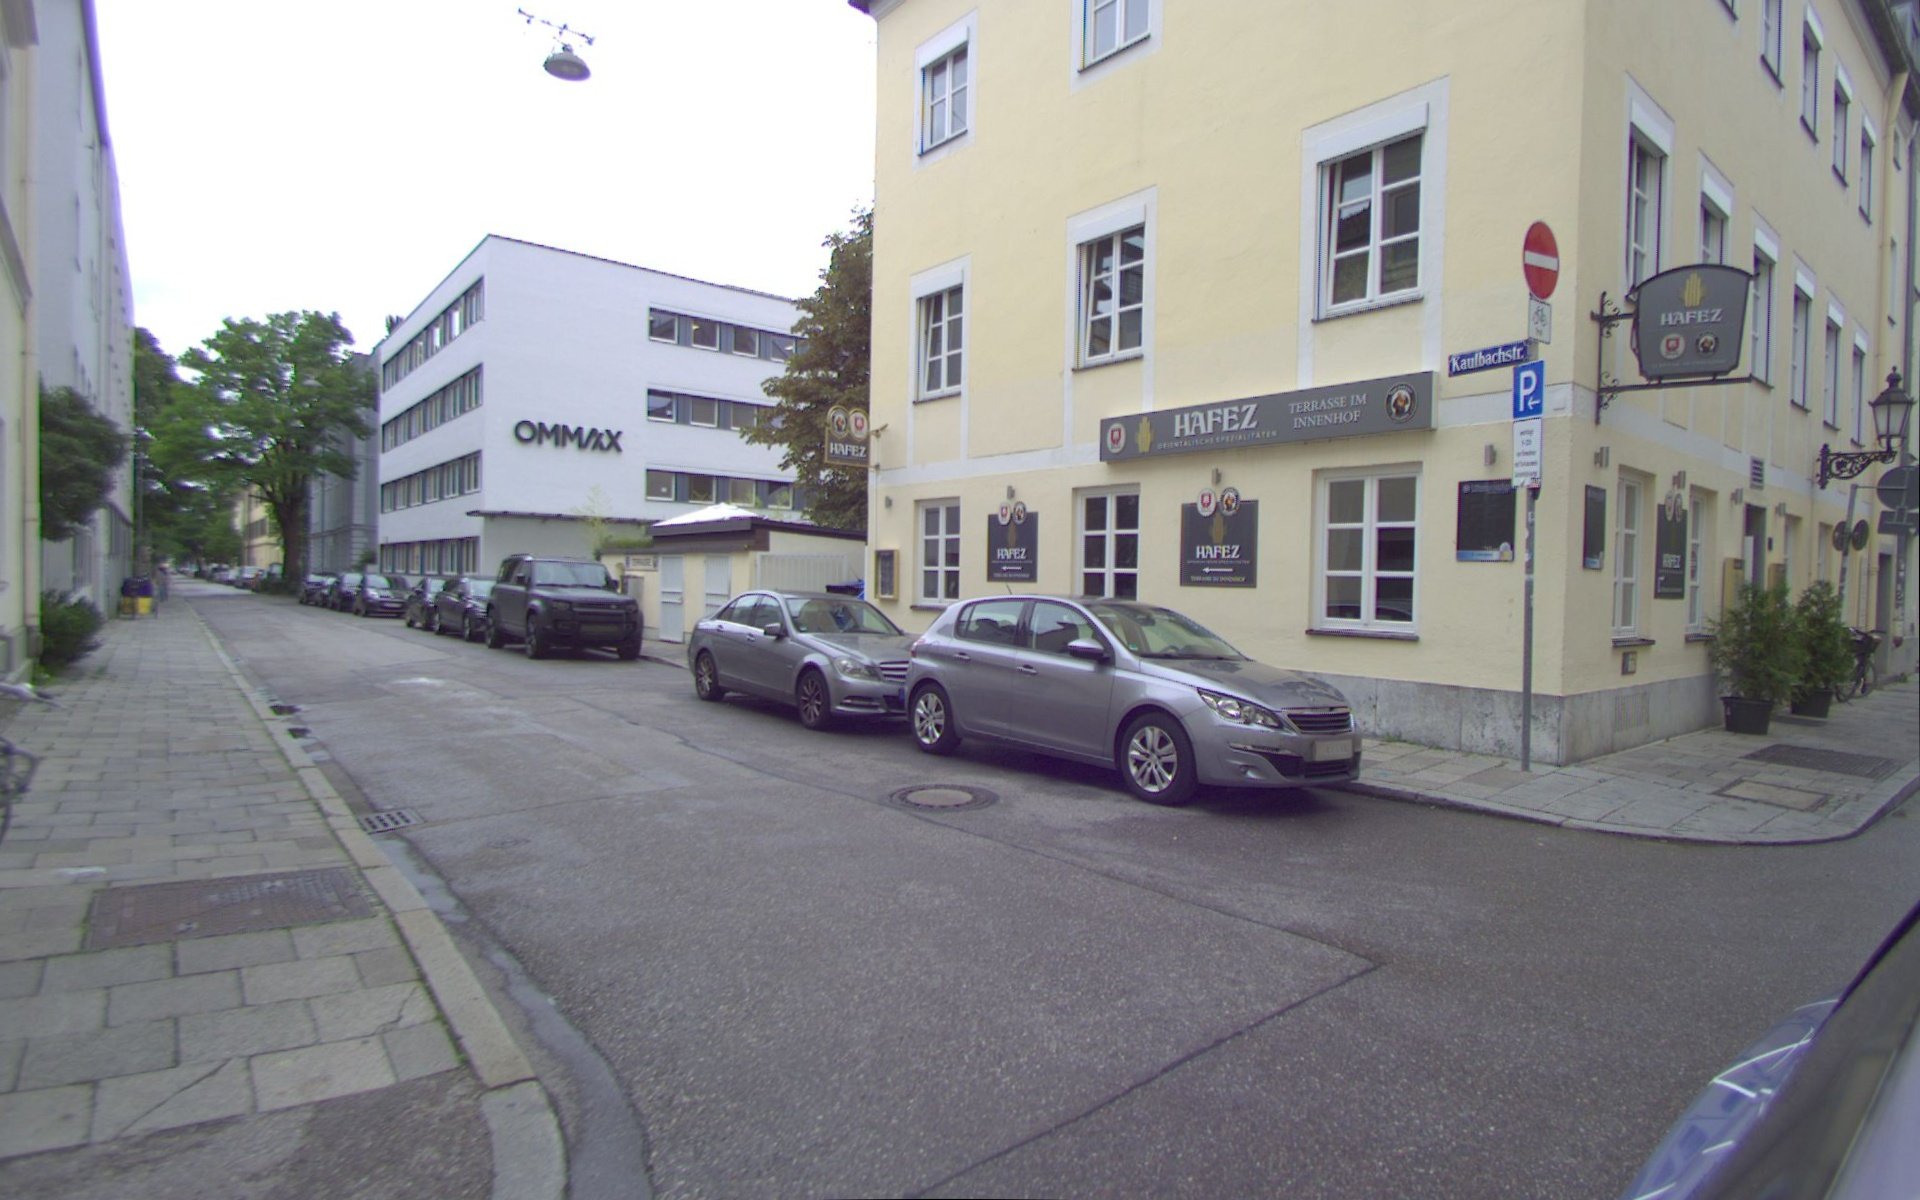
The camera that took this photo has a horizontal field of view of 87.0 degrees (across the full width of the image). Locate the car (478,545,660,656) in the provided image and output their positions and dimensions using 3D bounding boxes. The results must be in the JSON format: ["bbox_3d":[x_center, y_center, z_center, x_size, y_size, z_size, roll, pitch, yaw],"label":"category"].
[{"bbox_3d":[-7.754,0.006,19.777,2.052,1.869,4.718,3,-1,-37],"label":"car"}]

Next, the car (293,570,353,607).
[{"bbox_3d":[-31.144,-0.564,49.404,2.052,1.651,4.718,3,-1,-37],"label":"car"}]

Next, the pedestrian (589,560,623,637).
[{"bbox_3d":[-7.951,-0.041,22.741,0.548,1.705,0.518,1,1,-37],"label":"pedestrian"}]

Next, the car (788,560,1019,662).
[{"bbox_3d":[-0.968,0.186,18.586,3.928,1.671,1.807,1,0,-40],"label":"car"}]

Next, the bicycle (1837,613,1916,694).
[{"bbox_3d":[14.236,0.799,15.705,1.952,1.150,0.567,1,3,-39],"label":"bicycle"}]

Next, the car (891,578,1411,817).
[{"bbox_3d":[1.298,0.596,8.297,1.732,1.459,4.026,3,-1,-38],"label":"car"}]

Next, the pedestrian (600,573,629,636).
[{"bbox_3d":[-8.060,0.096,23.612,0.481,1.439,0.518,1,1,-37],"label":"pedestrian"}]

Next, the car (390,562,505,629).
[{"bbox_3d":[-14.488,-0.134,28.469,2.052,1.651,4.718,3,-1,-37],"label":"car"}]

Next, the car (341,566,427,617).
[{"bbox_3d":[-20.799,-0.308,36.435,2.052,1.651,4.718,3,-1,-37],"label":"car"}]

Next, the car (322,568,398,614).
[{"bbox_3d":[-24.226,-0.384,40.788,2.052,1.651,4.718,3,-1,-37],"label":"car"}]

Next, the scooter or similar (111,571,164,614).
[{"bbox_3d":[-23.343,-0.223,28.704,1.114,1.177,1.110,1,0,-41],"label":"scooter or similar"}]

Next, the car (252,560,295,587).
[{"bbox_3d":[-45.430,-1.739,66.936,2.052,1.651,4.718,3,-1,-37],"label":"car"}]

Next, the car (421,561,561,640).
[{"bbox_3d":[-11.311,-0.006,24.233,2.052,1.651,4.718,3,-1,-37],"label":"car"}]

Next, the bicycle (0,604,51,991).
[{"bbox_3d":[-3.299,0.621,3.128,0.575,1.158,1.762,4,0,-39],"label":"bicycle"}]

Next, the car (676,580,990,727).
[{"bbox_3d":[-1.669,0.519,11.930,1.732,1.405,4.197,3,-1,-38],"label":"car"}]

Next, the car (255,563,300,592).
[{"bbox_3d":[-42.414,-1.397,62.857,2.052,1.651,4.718,3,-1,-37],"label":"car"}]

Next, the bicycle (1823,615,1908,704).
[{"bbox_3d":[12.683,0.801,14.161,1.653,1.150,0.567,1,3,-39],"label":"bicycle"}]

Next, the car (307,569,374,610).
[{"bbox_3d":[-27.514,-0.468,44.898,2.052,1.651,4.718,3,-1,-37],"label":"car"}]
